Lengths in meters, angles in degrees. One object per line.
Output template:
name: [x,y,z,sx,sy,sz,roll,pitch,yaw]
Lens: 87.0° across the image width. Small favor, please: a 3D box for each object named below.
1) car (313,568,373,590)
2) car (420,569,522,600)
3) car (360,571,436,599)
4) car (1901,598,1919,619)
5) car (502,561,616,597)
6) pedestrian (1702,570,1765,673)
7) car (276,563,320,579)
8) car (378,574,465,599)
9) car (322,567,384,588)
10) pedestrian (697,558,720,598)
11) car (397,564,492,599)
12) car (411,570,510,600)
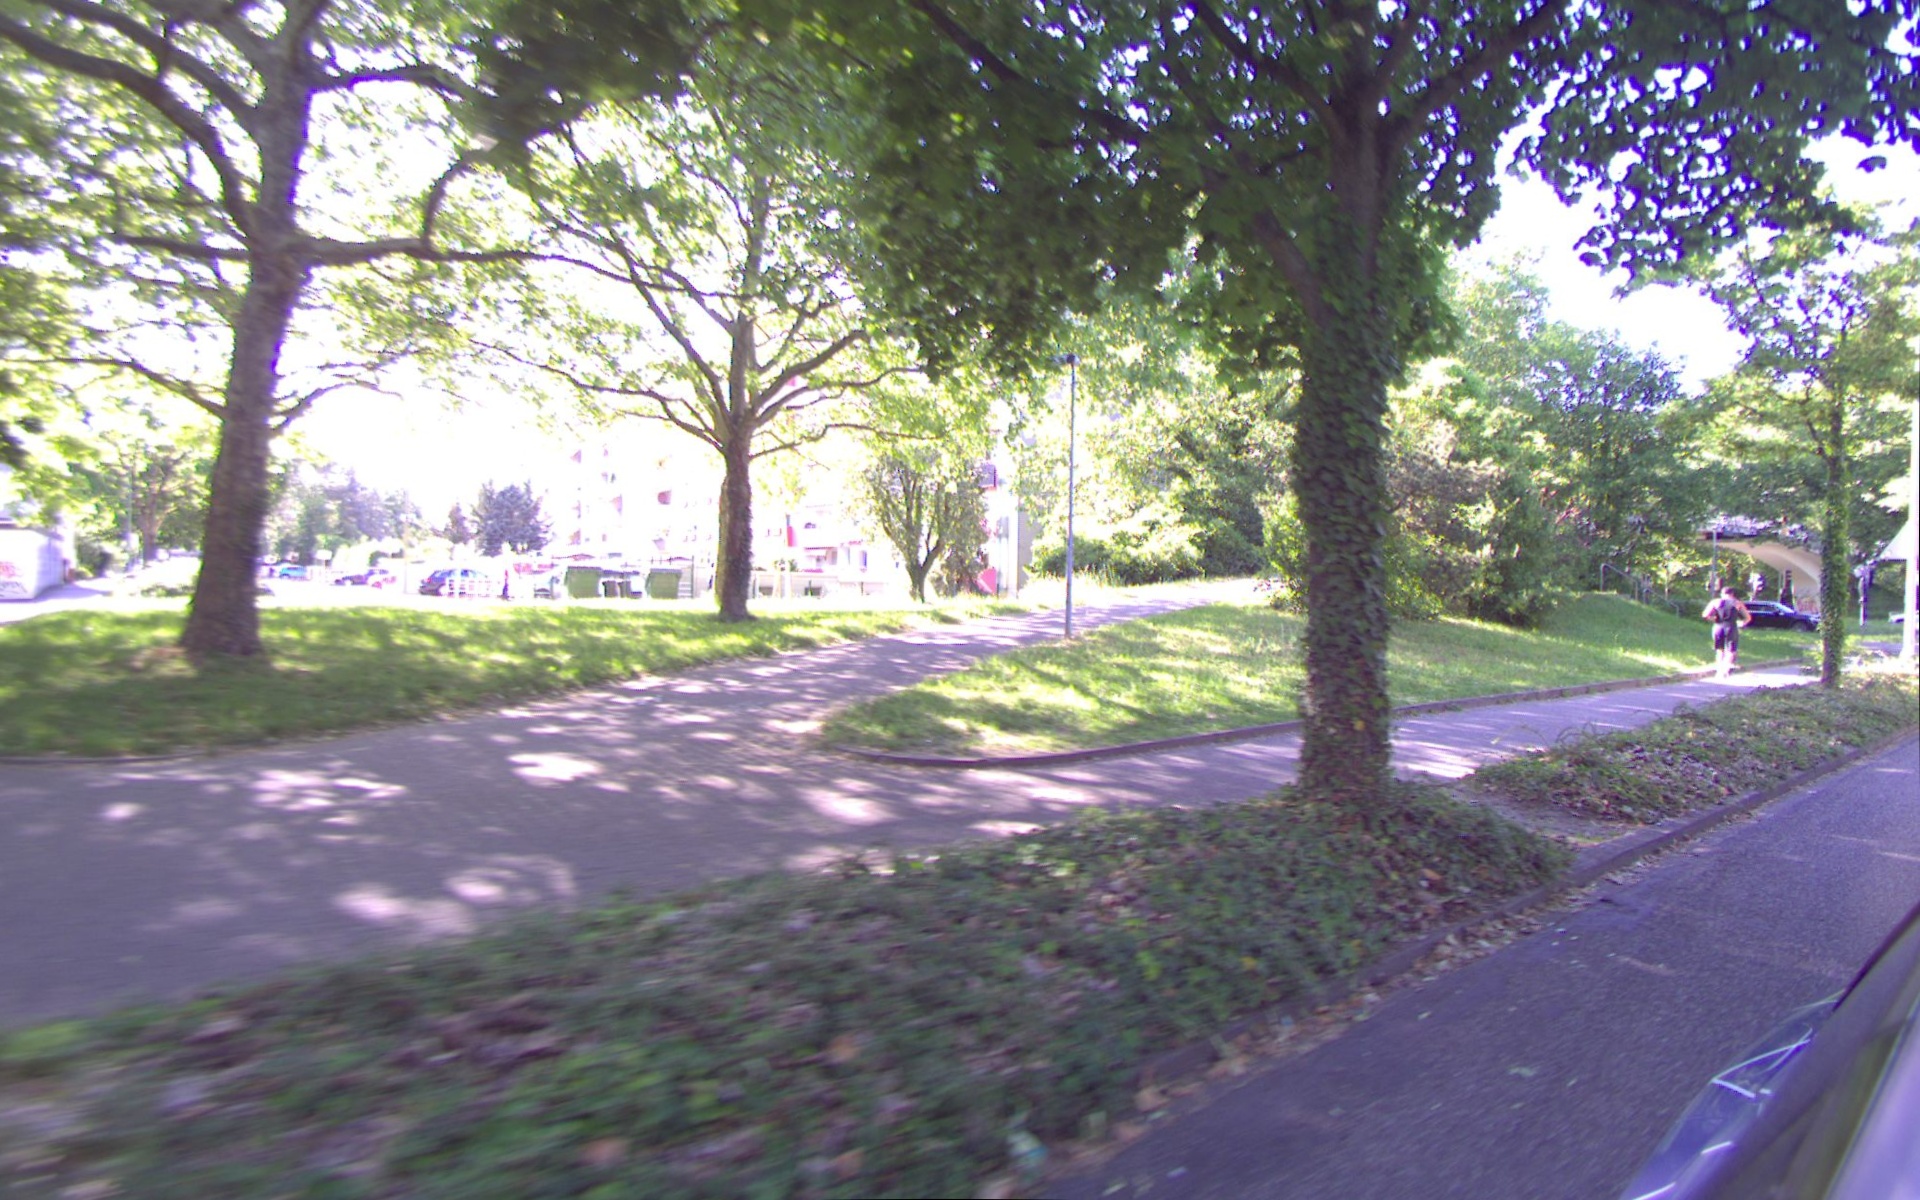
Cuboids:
car: [-49.050,-1.638,80.512,3.926,1.644,1.999,0,-1,-37]
car: [-23.262,-0.716,48.214,4.083,1.383,1.745,0,-1,-41]
car: [-34.810,-0.917,62.722,3.926,1.644,1.999,0,-1,-37]
car: [58.115,0.505,59.291,1.588,1.235,4.067,0,0,-34]
car: [-15.304,-0.786,38.708,3.790,1.310,1.540,0,-1,-41]
pedestrian: [14.280,0.383,18.692,0.659,1.855,0.792,0,0,-39]
car: [-71.366,-3.087,109.136,3.926,1.644,1.999,0,-1,-37]
car: [-30.603,-0.744,57.575,4.083,1.383,1.745,0,-1,-41]
car: [-46.451,-1.683,77.498,3.926,1.548,1.999,0,-1,-37]
pedestrian: [-10.105,-0.881,40.659,0.619,1.609,0.676,-1,-1,21]
car: [-26.552,-0.935,52.197,4.083,1.708,1.745,0,-1,-41]
car: [-24.722,-0.725,50.141,4.083,1.383,1.745,0,-1,-41]
